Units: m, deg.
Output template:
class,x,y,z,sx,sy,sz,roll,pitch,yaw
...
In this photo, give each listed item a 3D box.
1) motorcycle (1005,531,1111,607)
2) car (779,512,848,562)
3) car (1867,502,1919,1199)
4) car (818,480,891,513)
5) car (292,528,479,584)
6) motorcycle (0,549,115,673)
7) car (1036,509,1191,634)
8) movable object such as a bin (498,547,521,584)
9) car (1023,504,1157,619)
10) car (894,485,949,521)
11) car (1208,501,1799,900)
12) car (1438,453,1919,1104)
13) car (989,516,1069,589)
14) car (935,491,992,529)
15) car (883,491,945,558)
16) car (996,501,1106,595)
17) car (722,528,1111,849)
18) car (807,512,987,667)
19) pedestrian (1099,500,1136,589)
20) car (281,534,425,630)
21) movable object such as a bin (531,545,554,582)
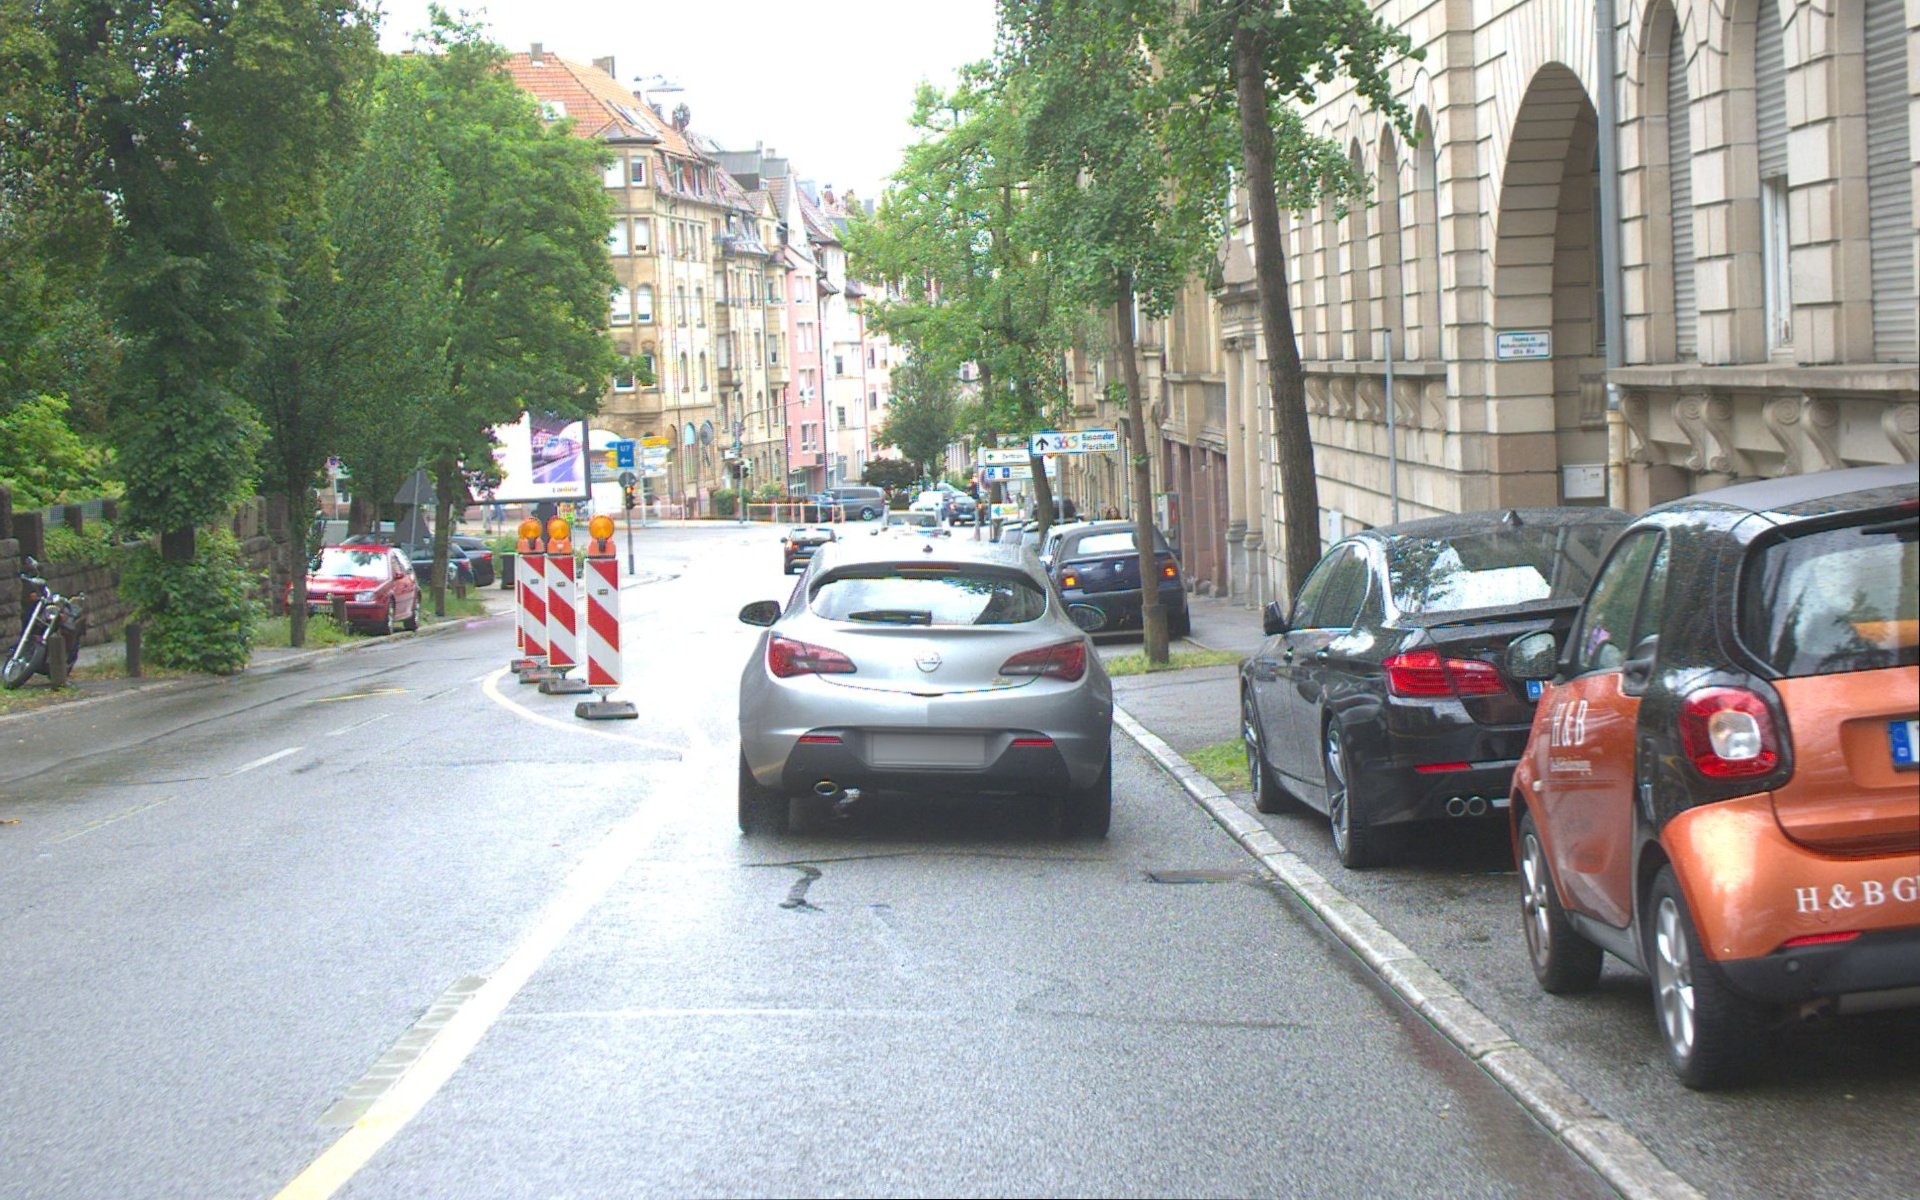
class,x,y,z,sx,sy,sz,roll,pitch,yaw
motorcycle,1.608,-0.507,56.174,0.657,1.231,1.977,1,1,38
car,-4.626,-2.002,108.970,1.993,1.495,4.000,-1,1,0
car,2.738,0.528,4.539,1.695,1.426,4.423,-4,2,-2
car,-5.835,-5.737,191.151,3.987,1.744,2.000,1,1,-1
car,-14.240,-1.102,85.182,4.308,1.239,1.643,-2,2,-19
motorcycle,-10.030,0.104,38.212,0.765,1.341,2.203,0,1,-1
car,1.867,-0.389,42.608,1.637,1.424,3.377,-2,2,-1
movable object such as a bin,-13.022,-1.008,99.428,0.625,1.055,0.634,1,1,-7
car,1.762,-0.567,47.719,1.637,1.464,3.858,-2,2,0
car,-1.879,-4.748,169.184,1.994,1.678,3.999,1,1,9
car,2.327,0.333,15.980,1.757,1.456,4.724,-4,2,-2
car,2.520,0.365,9.943,1.638,1.515,3.184,-4,2,-2
car,1.520,-1.083,77.314,1.637,1.519,3.858,-2,2,0
car,0.180,-4.212,160.706,1.994,1.678,3.999,1,1,9
car,-1.249,-2.069,93.726,1.656,1.776,3.666,0,1,0
car,1.628,-0.974,62.551,1.637,1.597,3.858,-2,2,-3
car,-0.232,0.372,17.966,1.811,1.444,3.870,0,2,-1
car,-0.684,-0.153,35.809,1.772,1.499,3.870,0,2,-2
pedestrian,3.309,-1.161,72.378,0.716,1.863,0.636,0,1,-1
car,-9.965,-0.326,56.669,1.637,1.434,4.080,-2,2,0
movable object such as a bin,-12.071,-1.053,99.362,0.625,1.055,0.721,1,1,-7
